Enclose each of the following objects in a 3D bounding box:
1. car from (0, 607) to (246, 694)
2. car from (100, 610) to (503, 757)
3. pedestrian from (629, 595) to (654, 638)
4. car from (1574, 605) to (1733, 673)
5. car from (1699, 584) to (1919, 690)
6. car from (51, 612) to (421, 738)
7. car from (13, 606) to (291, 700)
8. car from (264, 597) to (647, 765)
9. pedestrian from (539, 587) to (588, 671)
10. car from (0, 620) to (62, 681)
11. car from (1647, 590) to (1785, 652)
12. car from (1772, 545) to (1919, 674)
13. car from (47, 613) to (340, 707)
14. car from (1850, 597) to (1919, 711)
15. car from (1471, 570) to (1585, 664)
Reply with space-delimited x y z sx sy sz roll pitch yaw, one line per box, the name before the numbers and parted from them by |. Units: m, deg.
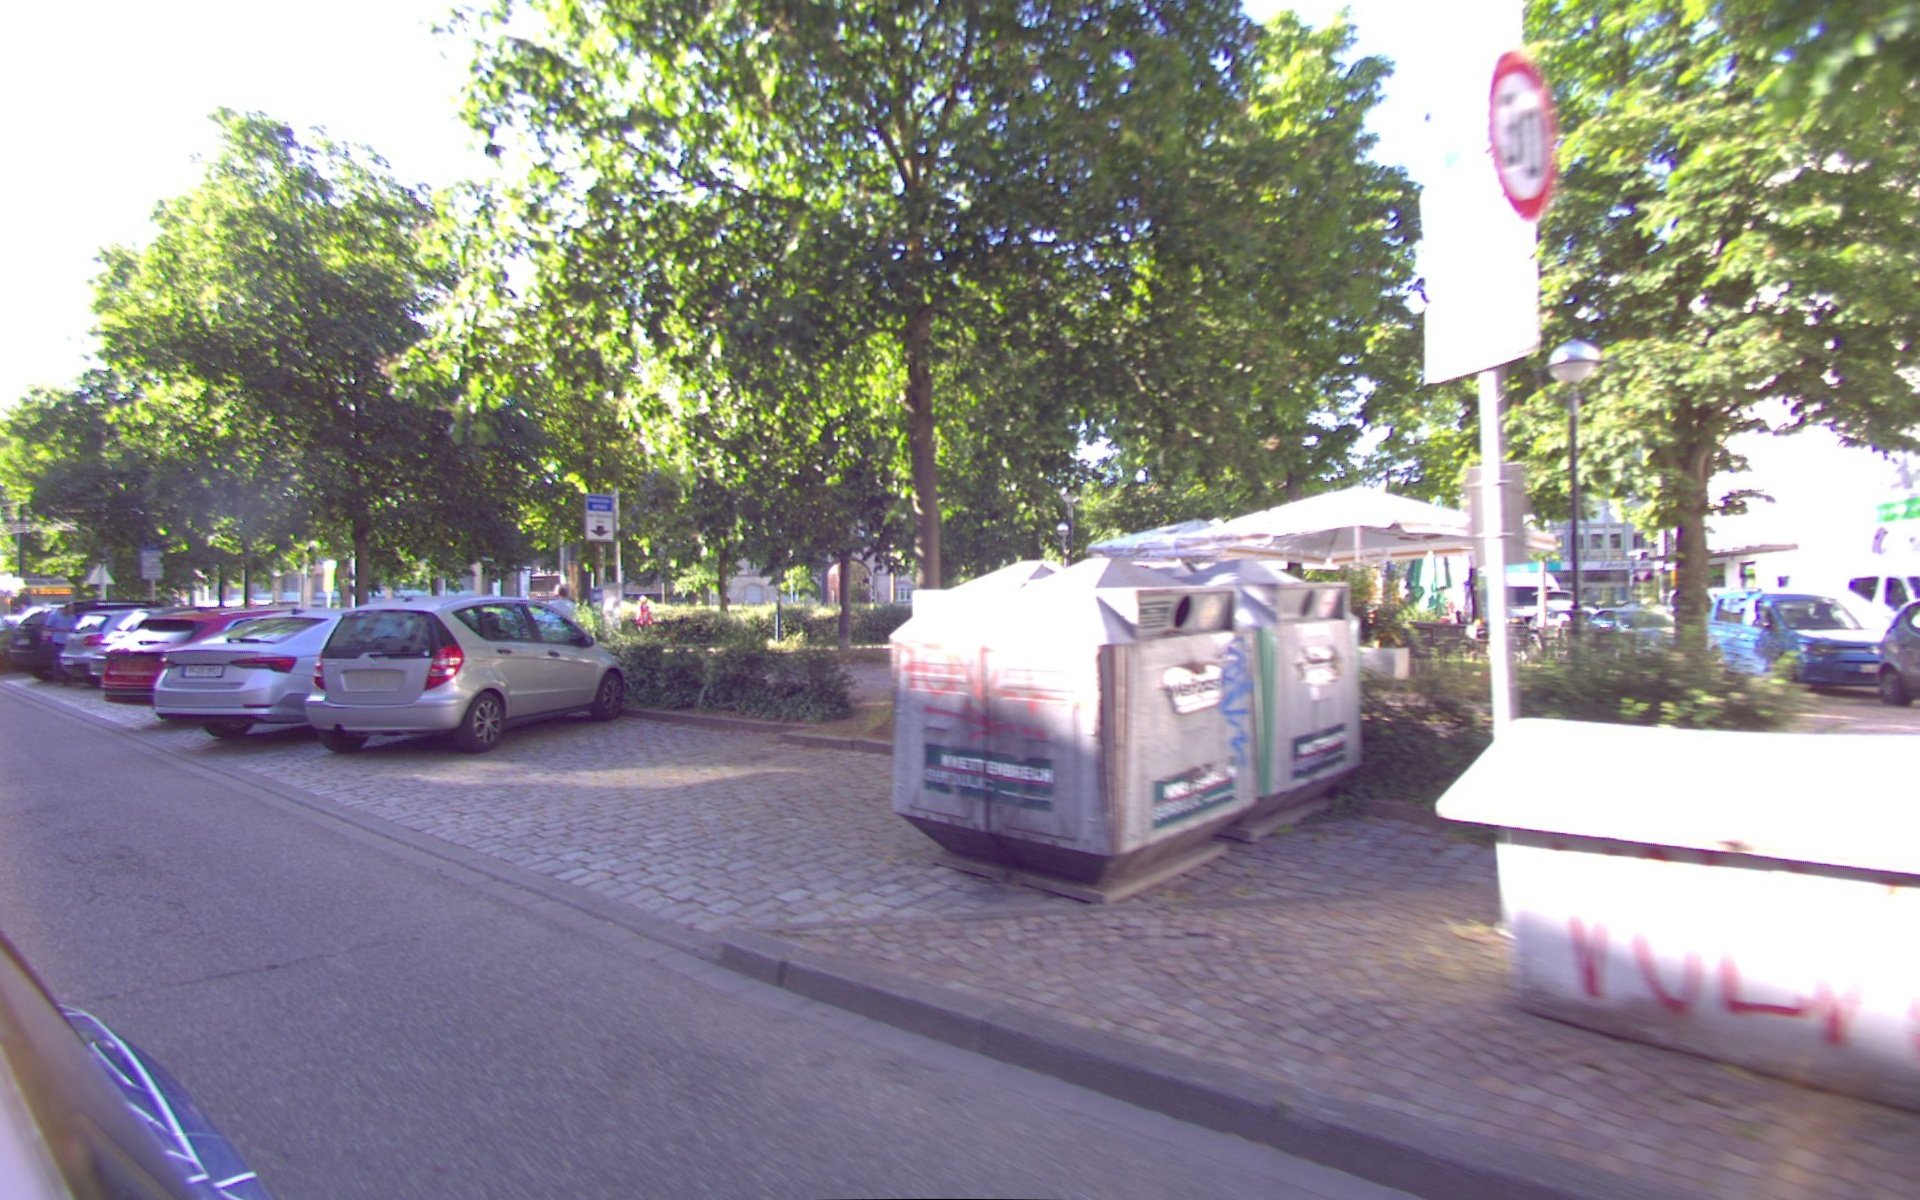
car | -18.485 1.035 22.391 1.986 1.706 3.971 -1 0 21
car | -7.700 0.882 12.378 1.978 1.453 3.988 -1 0 9
pedestrian | -9.449 0.486 30.035 0.517 1.266 0.523 -1 -1 23
car | 16.864 0.937 24.870 1.910 1.528 4.130 -1 -2 15
car | 14.918 0.624 17.597 1.910 1.624 4.130 -1 -2 15
car | -10.050 0.954 14.469 1.981 1.485 3.981 -1 0 14
car | -16.366 0.987 20.745 2.088 1.657 3.972 0 0 21
car | -5.451 0.780 11.606 1.978 1.574 3.988 -1 0 9
pedestrian | -6.104 0.446 15.577 0.520 1.266 0.519 -1 -1 7
car | -24.247 1.245 25.389 1.745 1.440 4.012 -1 0 -30
car | 23.998 0.684 32.340 1.910 1.802 4.565 -1 -2 15
car | 21.802 0.241 23.224 2.193 2.722 6.985 -1 -2 15
car | -14.265 1.042 19.075 1.991 1.485 3.962 -1 0 28
car | 13.720 0.695 12.876 1.910 1.528 4.130 -1 -2 15
car | 20.466 0.645 36.781 2.099 3.109 5.869 -1 -2 15
